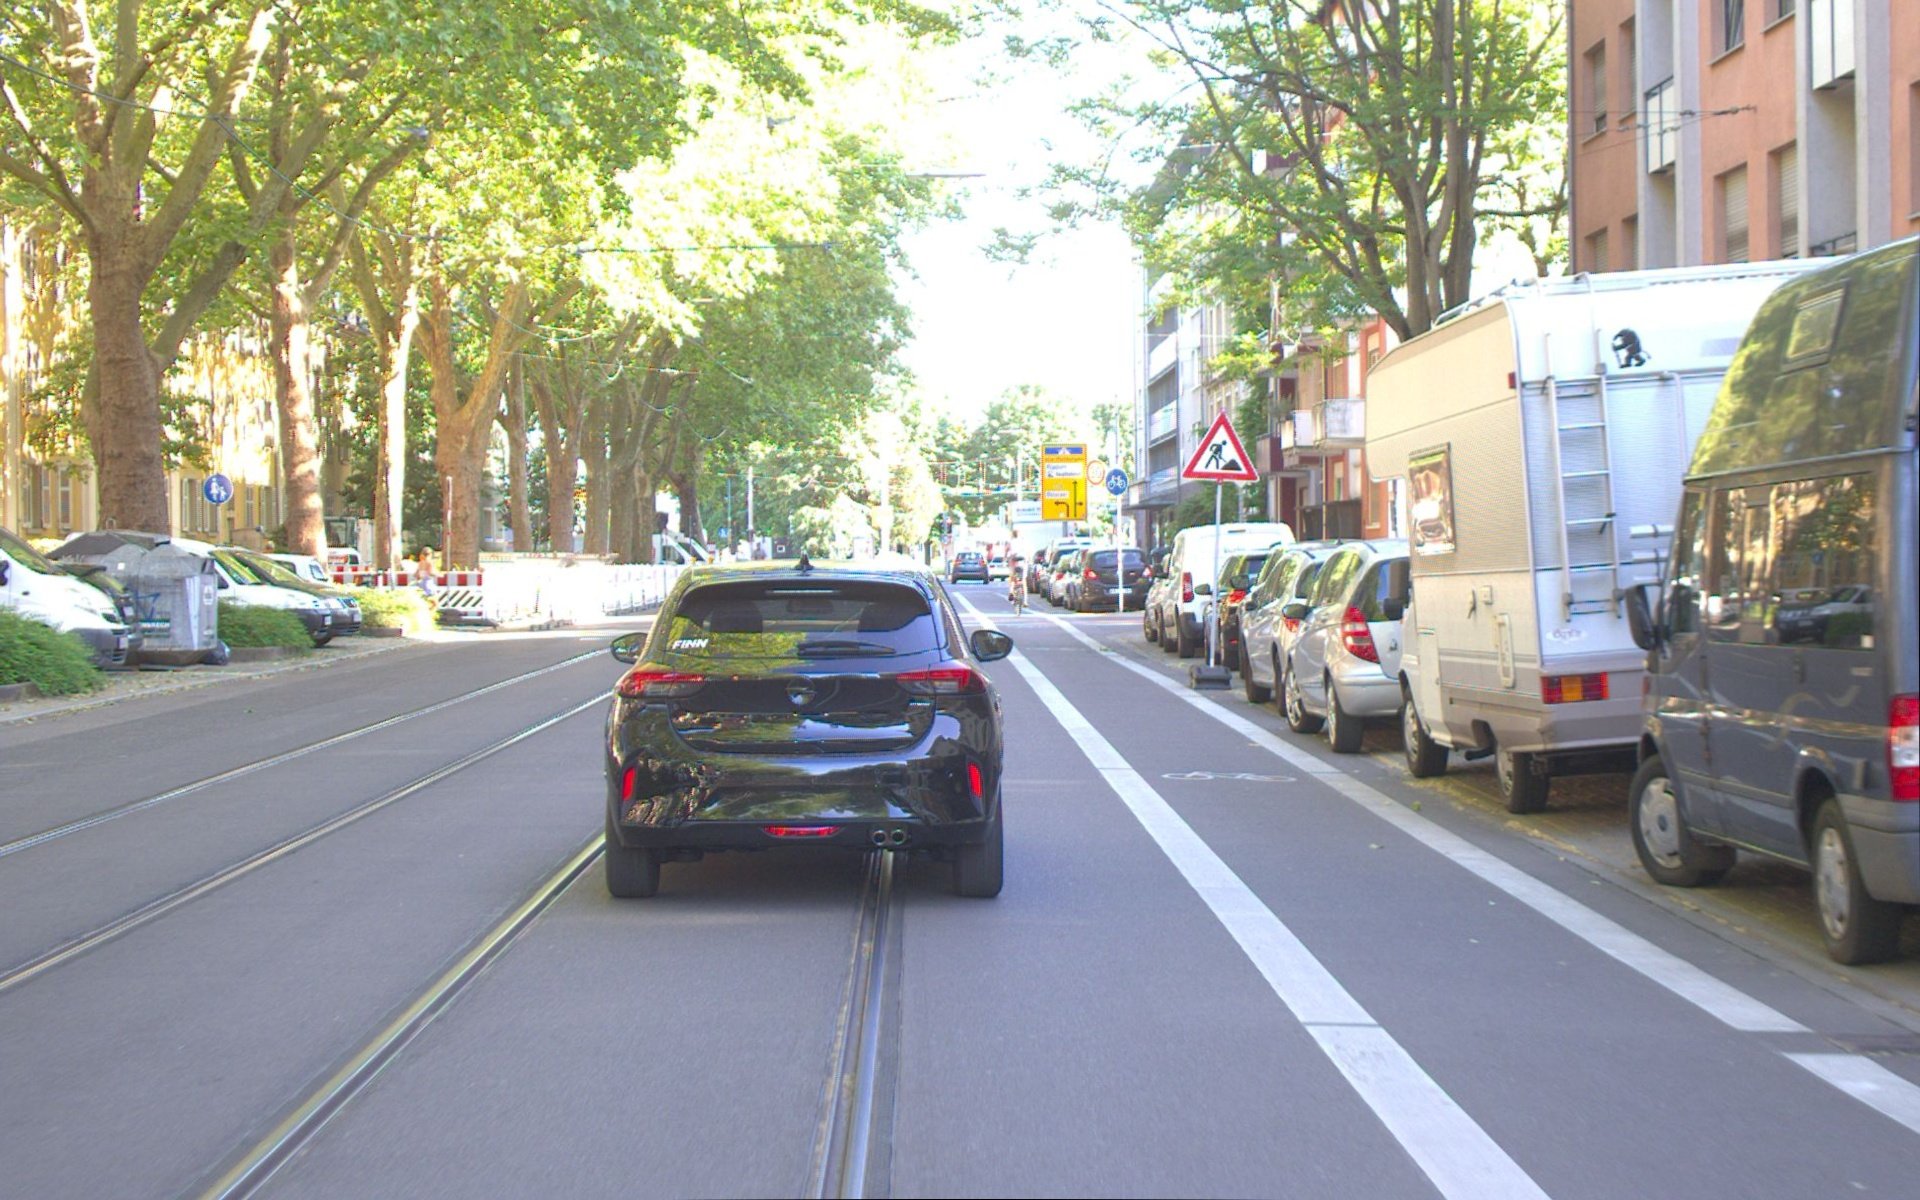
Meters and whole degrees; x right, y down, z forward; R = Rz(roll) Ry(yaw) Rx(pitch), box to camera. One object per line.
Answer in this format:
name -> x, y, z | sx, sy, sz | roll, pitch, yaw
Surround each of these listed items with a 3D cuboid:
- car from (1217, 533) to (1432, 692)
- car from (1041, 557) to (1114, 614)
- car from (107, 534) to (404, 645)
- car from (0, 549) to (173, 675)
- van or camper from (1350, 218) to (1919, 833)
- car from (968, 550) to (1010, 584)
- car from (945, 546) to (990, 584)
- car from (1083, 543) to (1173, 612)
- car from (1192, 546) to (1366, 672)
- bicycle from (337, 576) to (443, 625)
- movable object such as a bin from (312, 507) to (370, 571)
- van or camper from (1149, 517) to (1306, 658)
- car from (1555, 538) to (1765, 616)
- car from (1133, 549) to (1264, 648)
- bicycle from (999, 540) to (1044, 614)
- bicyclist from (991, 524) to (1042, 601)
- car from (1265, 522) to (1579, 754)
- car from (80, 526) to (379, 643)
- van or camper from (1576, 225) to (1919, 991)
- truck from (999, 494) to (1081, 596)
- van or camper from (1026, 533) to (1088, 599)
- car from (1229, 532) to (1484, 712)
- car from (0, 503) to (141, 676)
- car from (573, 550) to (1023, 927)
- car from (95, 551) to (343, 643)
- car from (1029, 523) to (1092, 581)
car -> 3.927, 0.096, 37.643 | 1.767, 1.567, 4.337 | -2, 1, -1
car -> 3.123, -0.408, 92.020 | 1.659, 1.394, 4.740 | -2, 1, -1
car -> -11.231, -0.178, 54.961 | 4.235, 1.682, 1.933 | -1, 1, 7
car -> -11.861, 0.153, 42.418 | 3.847, 1.492, 1.862 | -1, 1, 0
van or camper -> 4.037, -0.433, 20.672 | 2.462, 3.053, 6.268 | -2, 1, -1
car -> 1.498, -1.716, 178.531 | 1.993, 1.690, 4.740 | -2, 1, -1
car -> 0.361, -1.683, 164.291 | 1.993, 1.690, 4.740 | -2, 1, -1
car -> 3.788, -0.531, 78.112 | 1.733, 1.457, 3.916 | -2, 1, -1
car -> 3.911, 0.071, 42.723 | 1.705, 1.468, 4.168 | -1, 1, -1
bicycle -> -11.377, 0.007, 68.646 | 1.972, 0.959, 0.726 | 0, 1, 1
movable object such as a bin -> -18.132, -1.777, 100.708 | 1.333, 1.862, 2.008 | 1, 0, 0
van or camper -> 3.705, -0.208, 48.373 | 1.755, 1.858, 4.831 | -1, 1, -1
car -> 14.157, -0.478, 69.633 | 3.913, 1.477, 1.562 | 0, 3, -1
car -> 3.707, -0.055, 54.026 | 1.705, 1.468, 4.000 | -1, 1, -1
bicycle -> 1.316, -0.516, 74.208 | 0.916, 1.555, 3.405 | 0, 1, 0
bicyclist -> 1.216, -0.813, 74.196 | 1.089, 1.641, 1.400 | 0, 1, 0
car -> 3.561, 0.242, 27.220 | 1.793, 1.622, 4.277 | -2, 1, -1
car -> -11.167, -0.245, 52.737 | 4.198, 1.751, 1.740 | 0, 1, 1
van or camper -> 4.187, -0.046, 14.443 | 2.132, 2.654, 4.980 | -2, 1, -1
truck -> 2.735, -1.891, 119.755 | 2.538, 3.327, 7.195 | -3, 0, 0
van or camper -> 2.878, -1.024, 102.735 | 1.669, 1.876, 4.211 | -2, 1, 0
car -> 3.668, 0.158, 32.485 | 1.788, 1.517, 4.322 | -2, 1, -1
car -> -11.943, -0.137, 39.531 | 4.656, 1.938, 1.962 | 0, 1, -4
car -> -0.673, 0.522, 15.649 | 1.781, 1.491, 4.000 | 0, 1, -1
car -> -12.717, -0.064, 59.146 | 3.847, 1.492, 1.862 | -1, 1, 0
car -> 2.835, -1.371, 97.560 | 1.660, 1.575, 3.589 | -2, 1, 0
